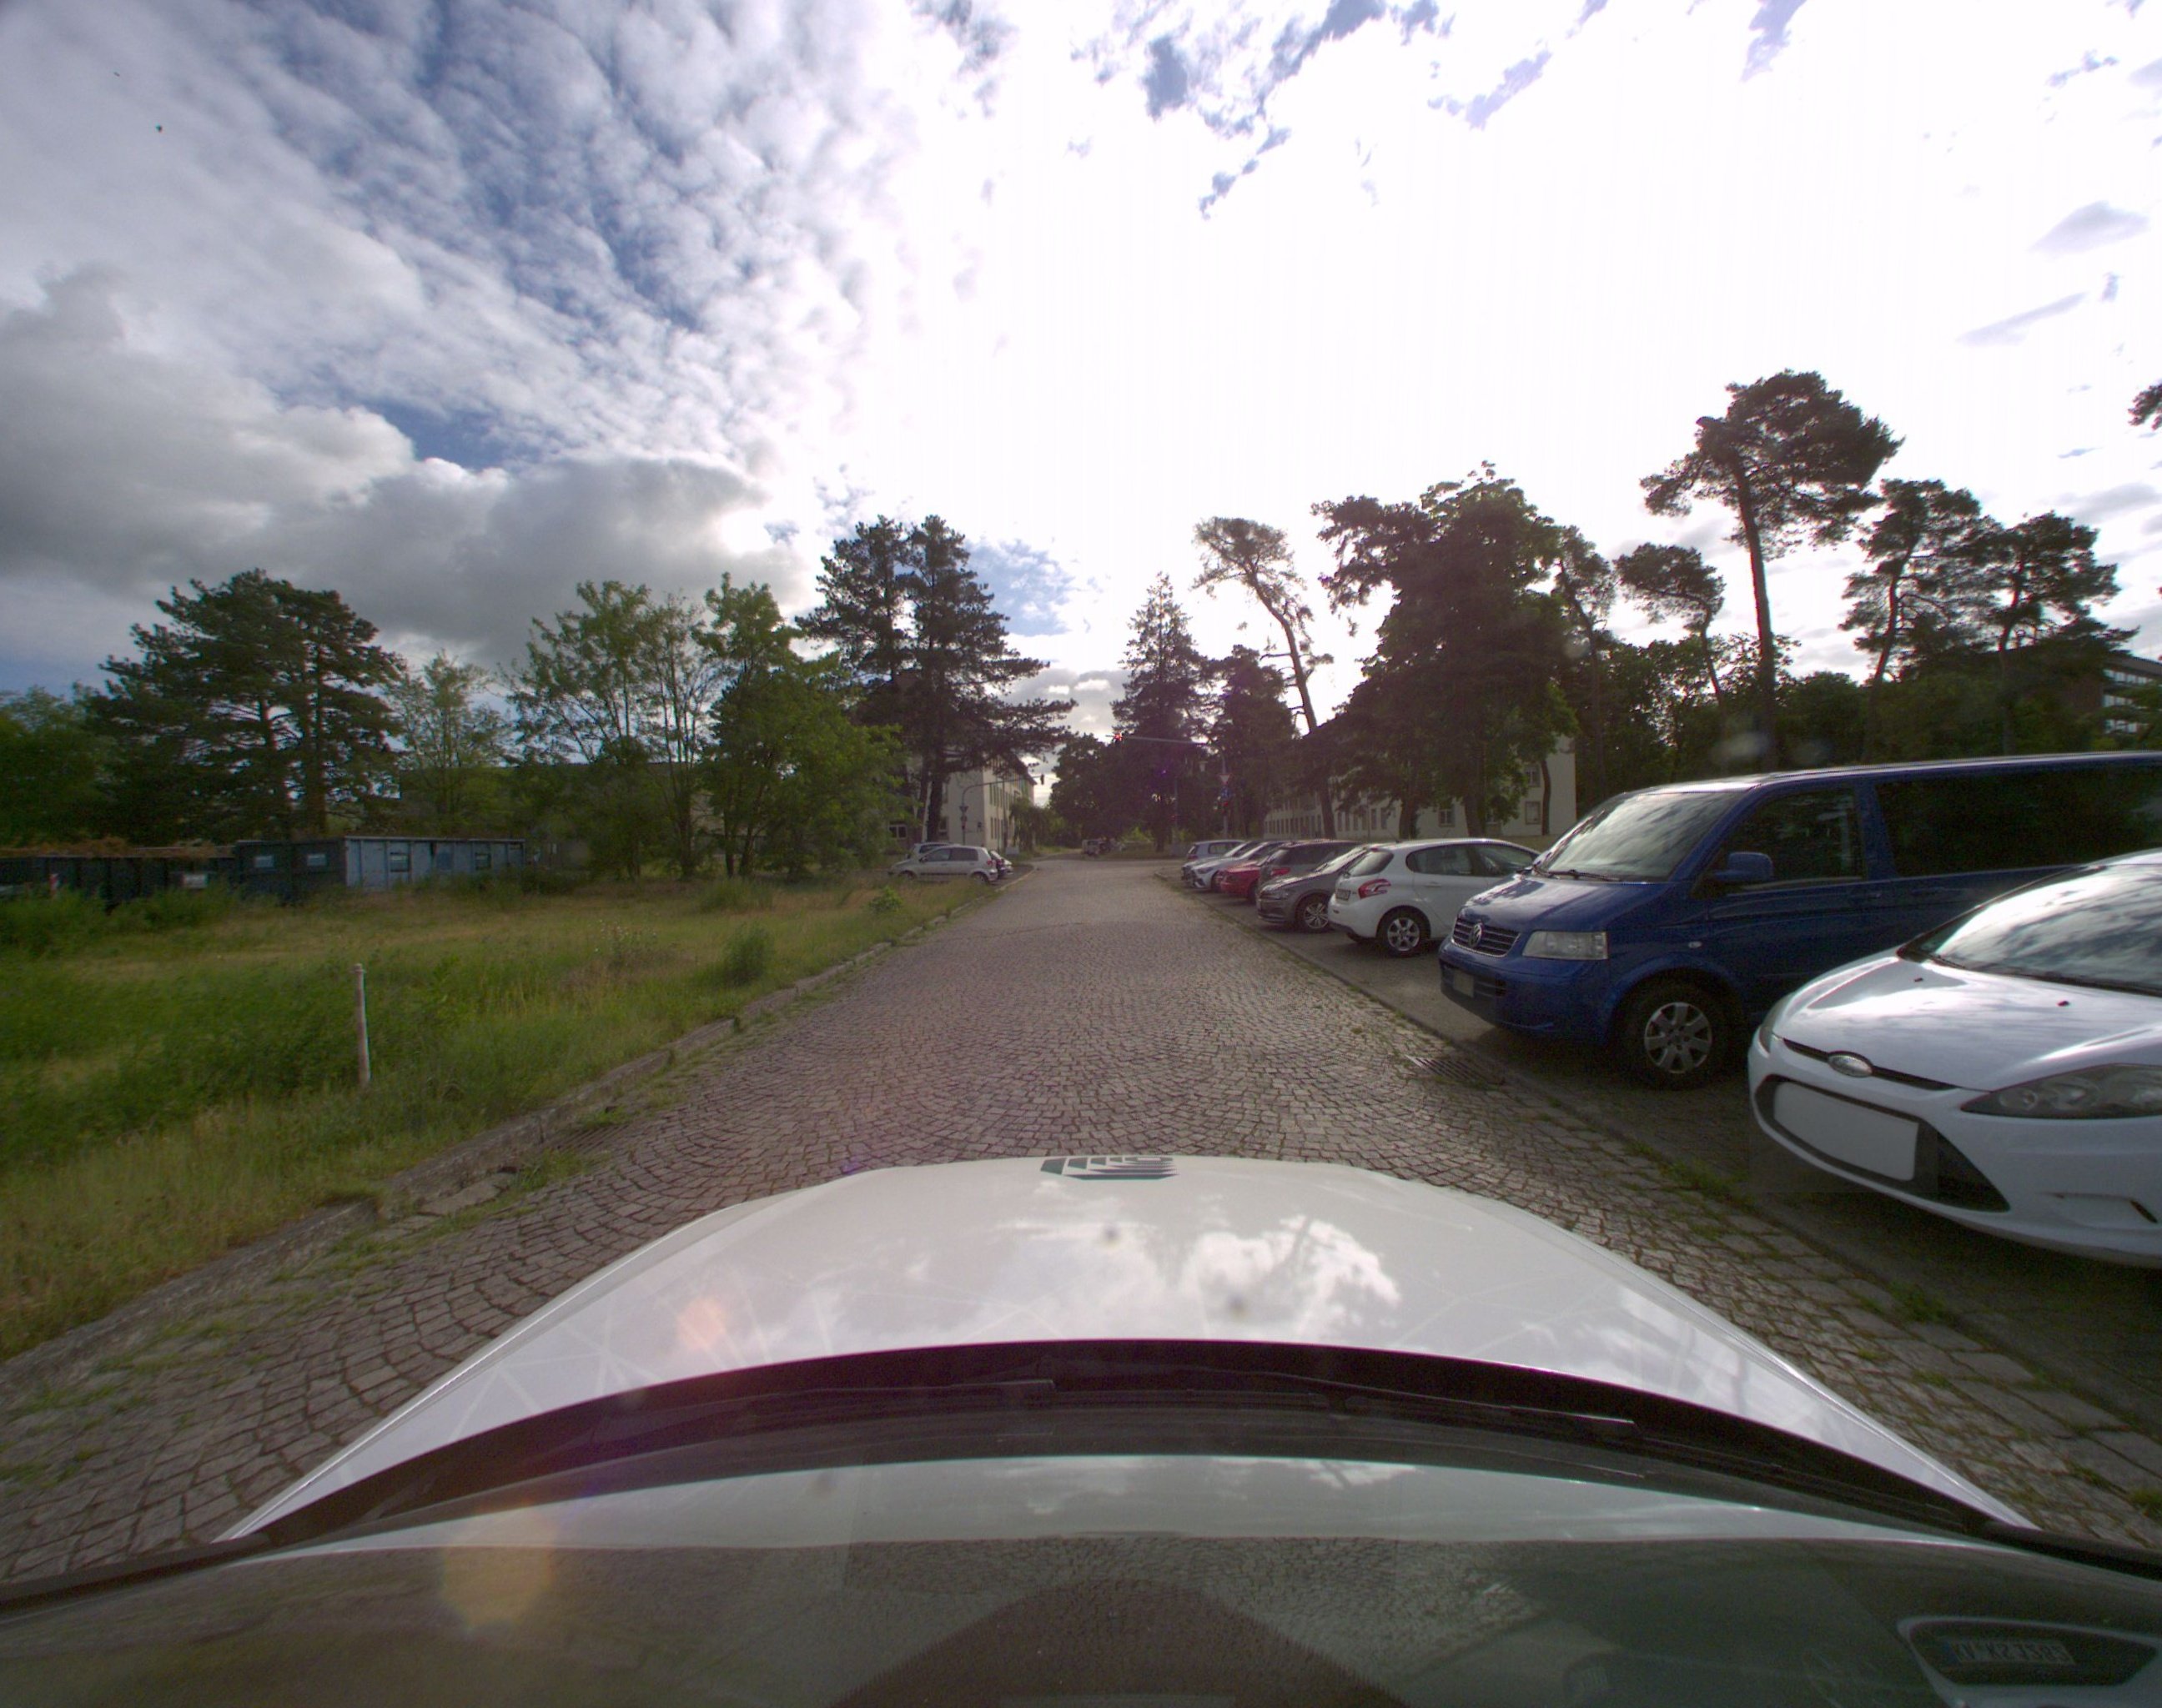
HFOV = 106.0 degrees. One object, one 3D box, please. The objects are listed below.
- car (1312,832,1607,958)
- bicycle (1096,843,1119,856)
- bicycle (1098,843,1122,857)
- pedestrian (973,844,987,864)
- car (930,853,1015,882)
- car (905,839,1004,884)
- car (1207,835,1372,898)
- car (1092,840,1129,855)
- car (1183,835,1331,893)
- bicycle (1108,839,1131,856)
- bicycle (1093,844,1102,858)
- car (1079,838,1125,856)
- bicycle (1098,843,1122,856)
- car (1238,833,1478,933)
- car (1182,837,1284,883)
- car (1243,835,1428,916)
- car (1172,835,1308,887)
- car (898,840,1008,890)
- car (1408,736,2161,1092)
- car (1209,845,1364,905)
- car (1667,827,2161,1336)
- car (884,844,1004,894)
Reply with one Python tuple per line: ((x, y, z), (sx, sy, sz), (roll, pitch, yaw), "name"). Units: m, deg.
((5.078, 0.501, 11.218), (3.283, 1.504, 1.663), (-2, 1, -2), "car")
((2.586, -0.430, 80.419), (2.158, 1.268, 0.811), (-1, 1, -6), "bicycle")
((2.802, -0.427, 78.618), (2.158, 1.268, 0.811), (-1, 1, -6), "bicycle")
((-7.769, -0.013, 62.937), (0.895, 1.498, 0.904), (-1, 1, 1), "pedestrian")
((-4.843, 0.586, 36.551), (3.666, 1.093, 1.643), (-2, 1, -6), "car")
((-5.267, 0.282, 34.376), (3.983, 1.749, 1.923), (-1, 1, -7), "car")
((5.574, 0.304, 22.022), (3.981, 1.543, 1.661), (-1, 1, -6), "car")
((3.383, -0.742, 93.164), (3.981, 1.644, 1.996), (-1, 1, -6), "car")
((5.198, 0.257, 24.256), (3.981, 1.543, 1.661), (-2, 1, -6), "car")
((3.740, -0.612, 79.914), (2.158, 1.615, 0.811), (-1, 1, -6), "bicycle")
((1.503, -0.307, 74.860), (0.807, 1.268, 1.974), (-1, 1, 2), "bicycle")
((2.460, -0.878, 96.441), (5.051, 2.013, 1.993), (-1, 1, -10), "car")
((2.806, -0.429, 79.206), (2.158, 1.268, 0.811), (-1, 1, -6), "bicycle")
((4.761, 0.449, 14.181), (3.598, 1.506, 1.658), (-2, 1, -10), "car")
((5.489, 0.189, 29.640), (3.384, 1.543, 1.388), (-2, 1, -6), "car")
((5.269, 0.406, 17.060), (3.293, 1.504, 1.658), (-2, 1, -10), "car")
((5.227, 0.216, 27.070), (4.116, 1.543, 1.661), (-2, 1, -6), "car")
((-4.835, 0.388, 31.325), (3.981, 1.705, 1.996), (-2, 1, -6), "car")
((5.065, 0.331, 5.803), (4.768, 2.039, 1.738), (-2, 1, -1), "car")
((4.928, 0.472, 19.776), (3.287, 1.267, 1.661), (-2, 1, -6), "car")
((4.845, 0.626, 3.344), (3.713, 1.424, 1.653), (-3, 1, -2), "car")
((-4.755, 0.498, 28.832), (3.981, 1.552, 1.996), (-2, 1, -6), "car")
